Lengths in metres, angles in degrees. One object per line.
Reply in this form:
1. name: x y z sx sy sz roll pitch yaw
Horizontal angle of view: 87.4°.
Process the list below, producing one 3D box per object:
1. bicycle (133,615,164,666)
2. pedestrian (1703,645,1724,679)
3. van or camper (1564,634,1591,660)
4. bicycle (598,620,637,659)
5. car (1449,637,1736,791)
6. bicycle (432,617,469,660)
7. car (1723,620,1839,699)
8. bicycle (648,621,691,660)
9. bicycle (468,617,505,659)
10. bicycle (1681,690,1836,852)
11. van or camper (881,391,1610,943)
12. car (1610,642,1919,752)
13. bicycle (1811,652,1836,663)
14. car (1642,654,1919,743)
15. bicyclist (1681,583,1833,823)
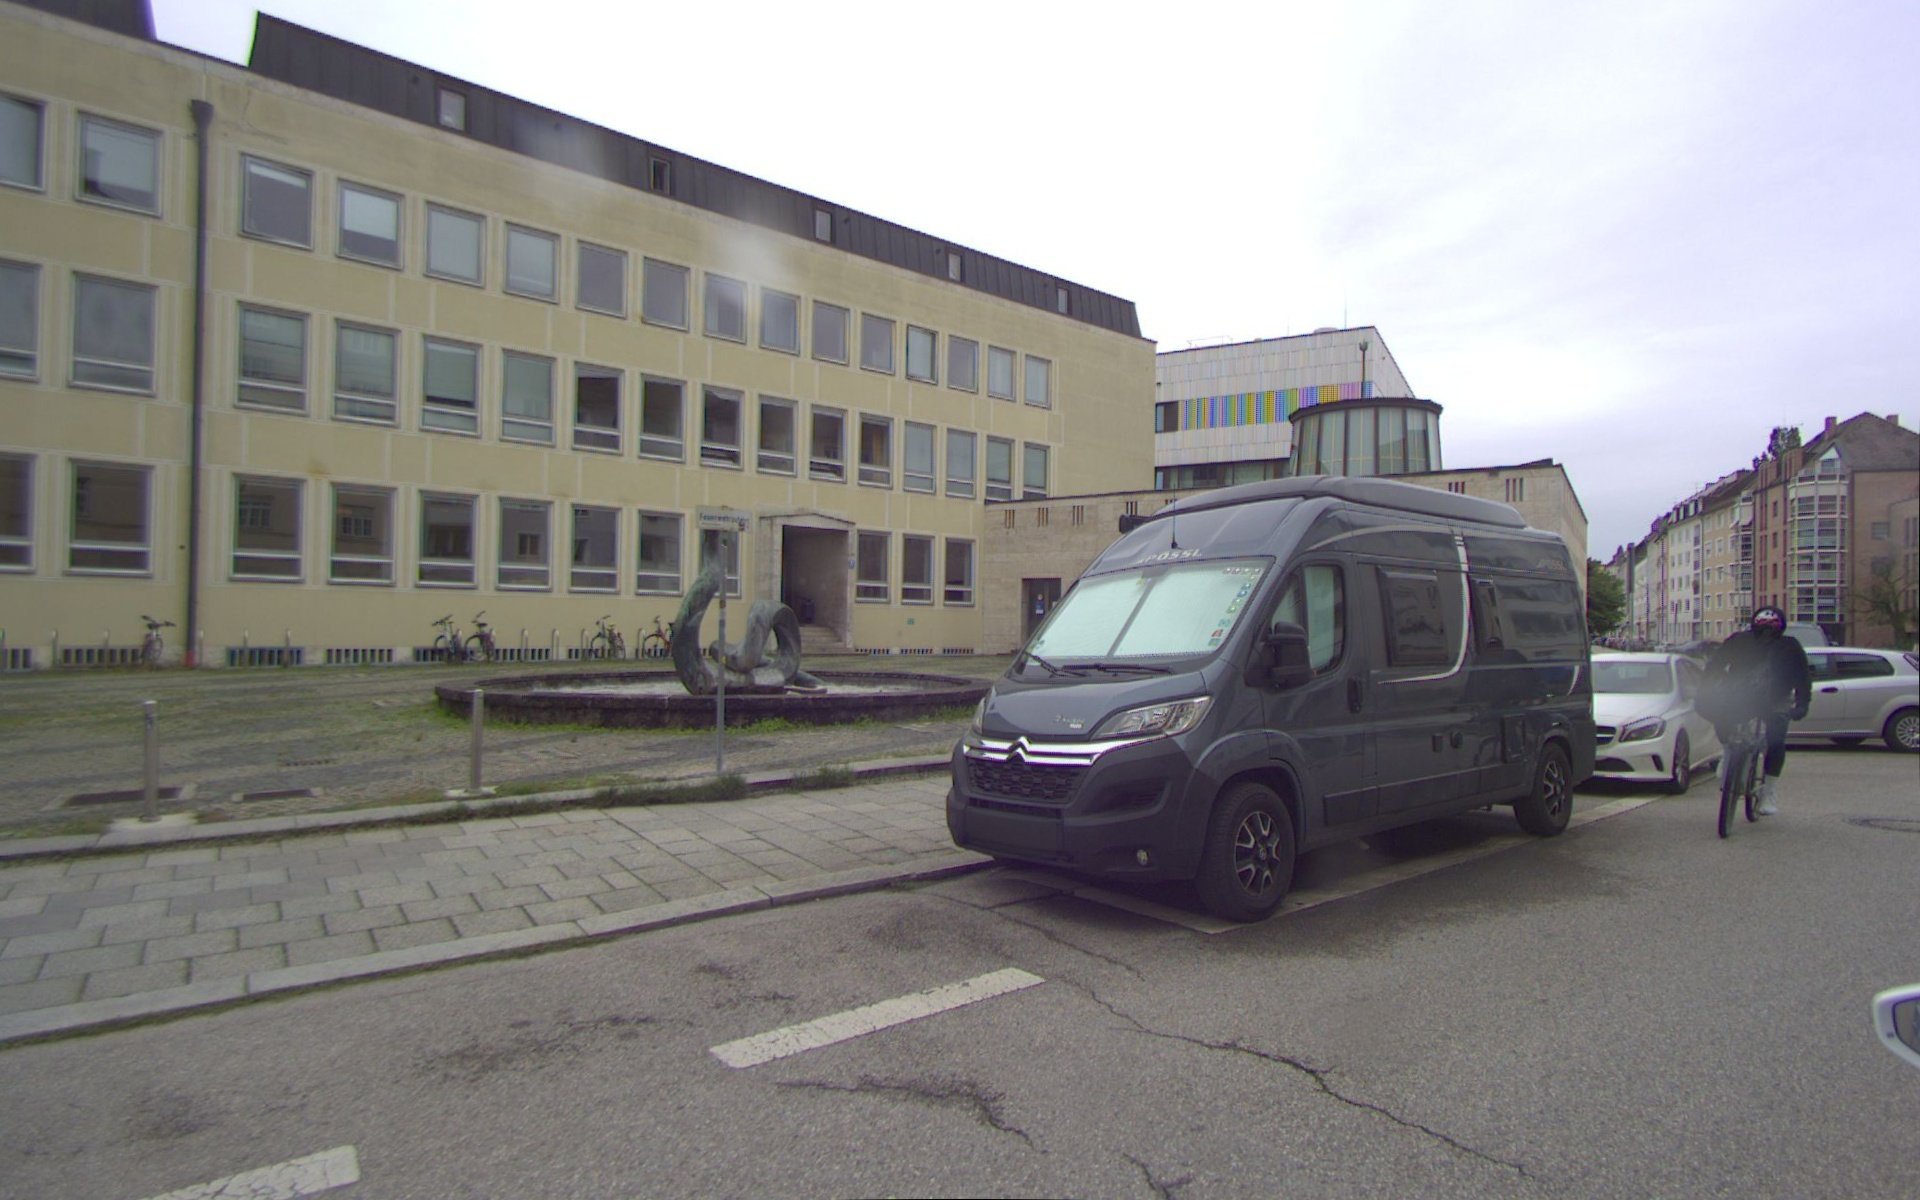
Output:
1. bicycle: -16.388 0.800 20.285 0.411 0.957 1.394 1 0 -41
2. pedestrian: 38.284 3.149 51.036 0.915 1.651 0.754 2 -2 -45
3. van or camper: 64.591 4.885 105.160 2.065 2.585 4.765 1 -1 28
4. bicycle: -9.003 1.026 26.370 0.411 0.957 1.457 1 0 -41
5. car: 7.550 1.211 11.821 1.974 1.469 4.188 -3 -4 45
6. bicycle: -12.150 0.902 23.947 0.411 0.957 1.457 1 0 -41
7. car: 20.787 1.487 25.607 2.025 1.759 4.869 1 -2 37
8. bicycle: -7.878 1.089 27.220 0.411 0.957 1.691 1 0 -41
9. bicycle: -11.575 0.916 24.549 0.411 0.957 1.457 1 0 -41
10. bicycle: 6.469 1.309 8.099 1.921 1.083 0.581 2 -3 -40
11. van or camper: 2.520 0.446 7.581 6.035 2.615 2.279 2 -4 -40
12. car: 12.275 1.420 15.164 3.733 1.527 1.716 -1 -3 15
13. bicycle: 73.353 4.899 85.316 1.083 0.865 1.727 1 -1 23
14. car: 14.437 1.661 17.405 3.917 1.439 1.816 -1 -3 14
15. bicyclist: 6.419 0.797 8.094 0.808 1.794 0.739 1 -3 -39
